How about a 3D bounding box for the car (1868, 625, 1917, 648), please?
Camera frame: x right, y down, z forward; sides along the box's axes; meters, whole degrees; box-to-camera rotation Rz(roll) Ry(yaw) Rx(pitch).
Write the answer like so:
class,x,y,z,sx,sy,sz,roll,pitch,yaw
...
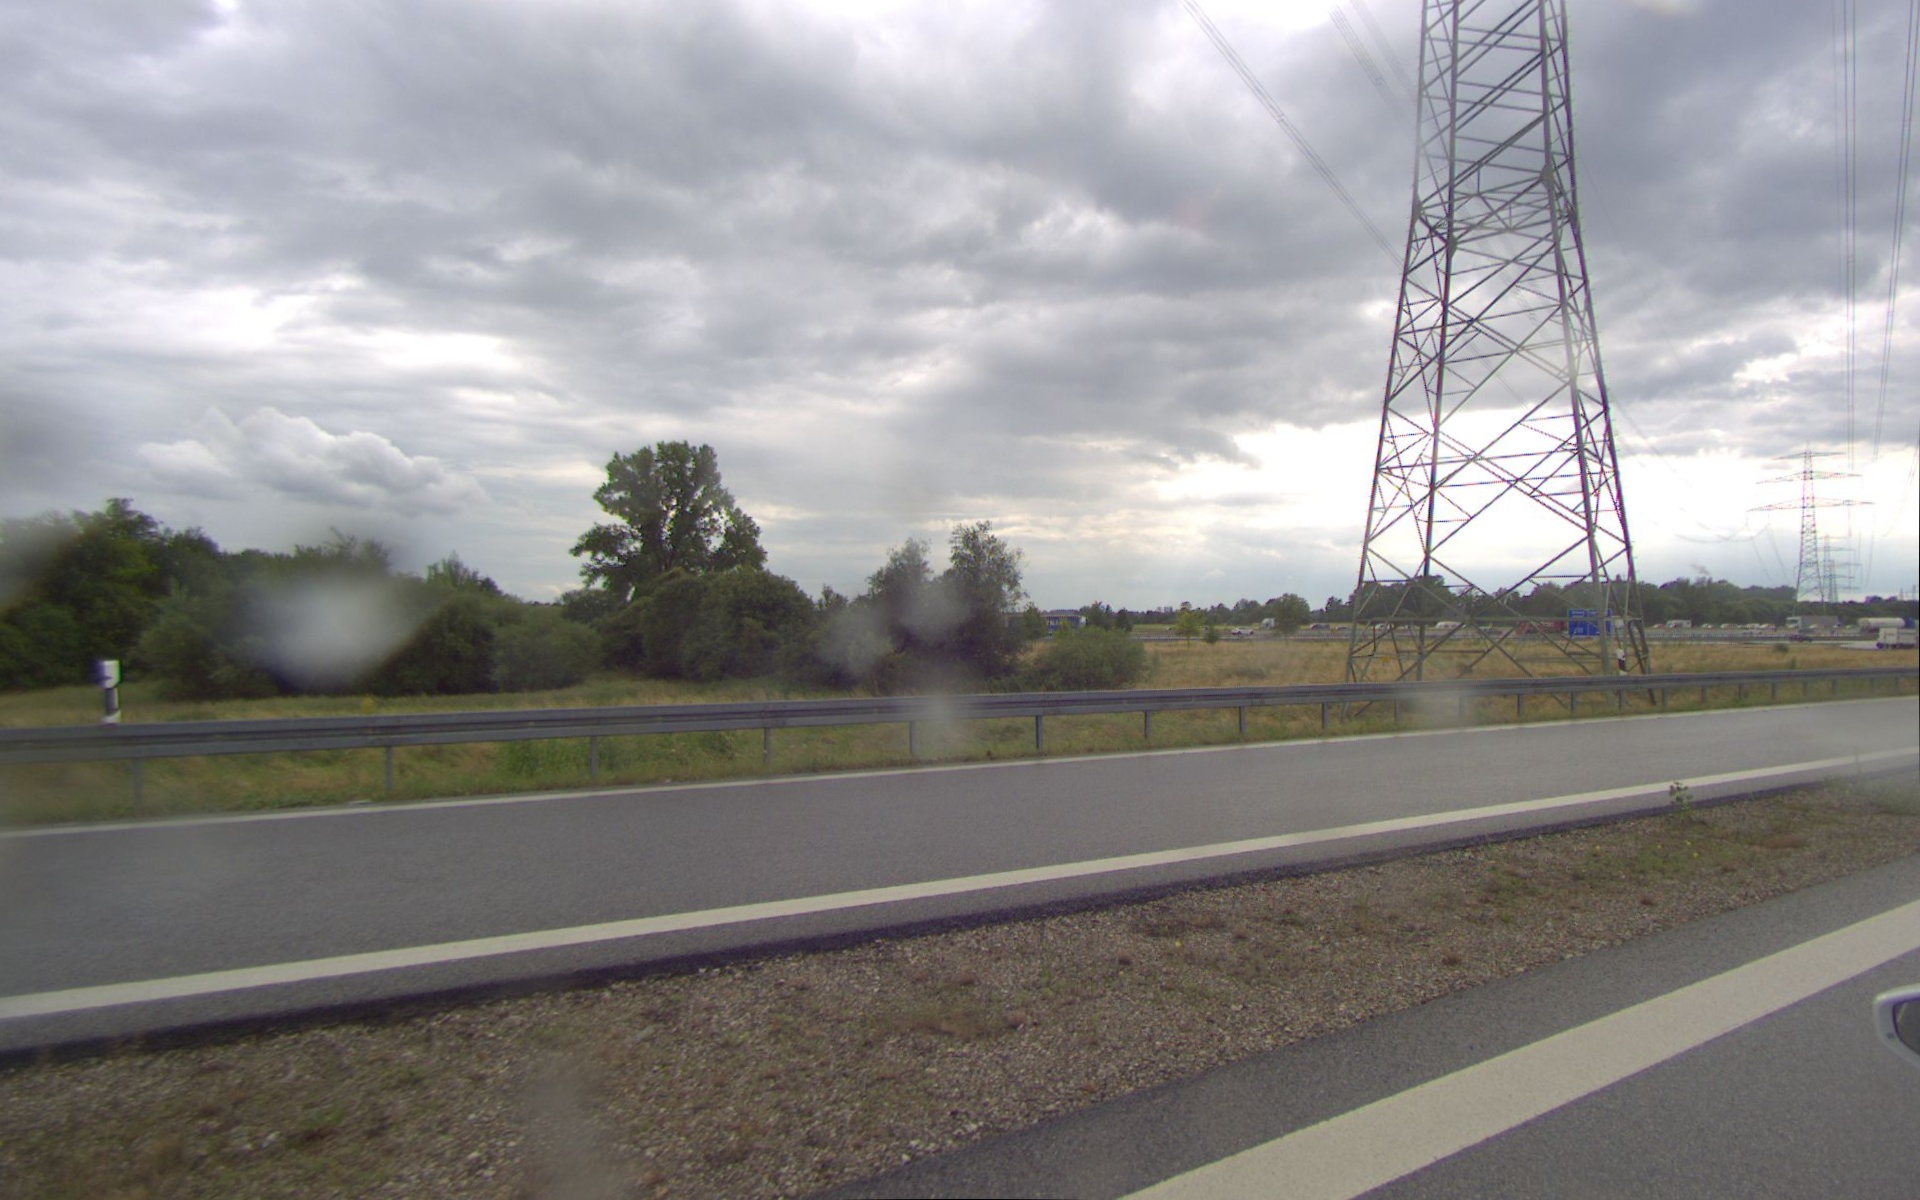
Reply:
class,x,y,z,sx,sy,sz,roll,pitch,yaw
car,153.785,5.929,165.737,3.330,3.658,9.038,0,-1,25
